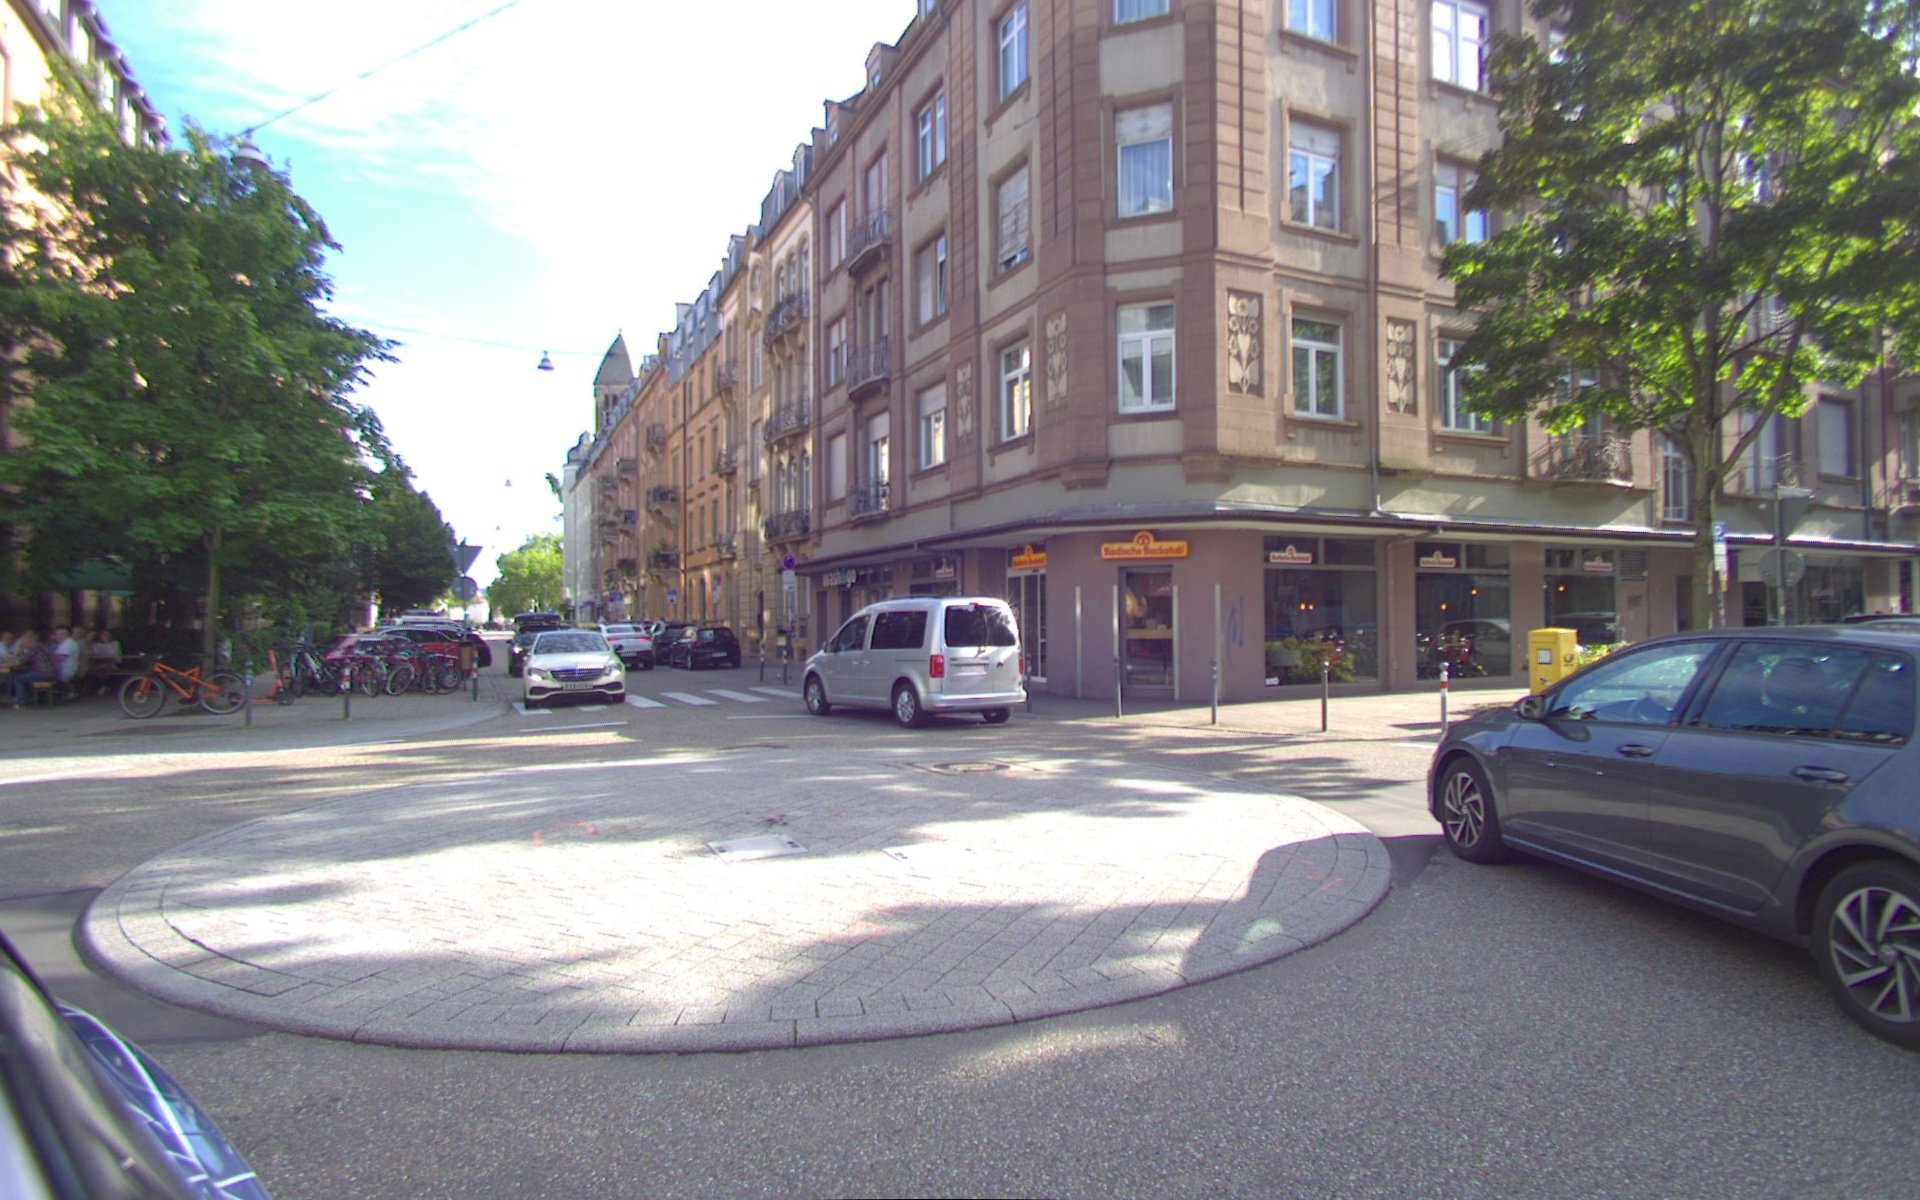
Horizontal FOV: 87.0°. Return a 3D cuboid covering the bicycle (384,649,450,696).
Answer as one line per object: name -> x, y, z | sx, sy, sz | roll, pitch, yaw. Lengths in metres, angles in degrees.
bicycle -> -12.339, 1.632, 22.961 | 1.860, 0.993, 0.466 | 0, -3, 34

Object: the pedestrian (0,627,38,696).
pedestrian -> -18.421, 1.181, 19.740 | 0.621, 1.310, 0.541 | -1, -1, 40

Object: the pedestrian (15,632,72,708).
pedestrian -> -16.606, 1.252, 18.347 | 0.717, 1.325, 0.522 | 1, -2, -38

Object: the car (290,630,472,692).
car -> -14.139, 1.483, 24.866 | 1.512, 1.391, 3.541 | -1, -4, 39

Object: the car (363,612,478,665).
car -> -26.791, 1.879, 50.443 | 1.993, 2.441, 4.688 | -3, -1, 32

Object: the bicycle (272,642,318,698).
bicycle -> -13.875, 1.439, 21.095 | 1.676, 1.109, 0.428 | -1, -3, 45

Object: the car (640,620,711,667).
car -> -10.900, 1.601, 38.542 | 1.830, 1.596, 4.413 | -1, 0, -26

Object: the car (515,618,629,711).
car -> -7.997, 1.258, 20.809 | 1.911, 1.609, 4.851 | -2, -2, -22

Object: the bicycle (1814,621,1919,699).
bicycle -> 14.357, 0.918, 16.007 | 2.252, 1.166, 0.480 | 0, -2, -28

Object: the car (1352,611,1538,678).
car -> 12.572, 1.151, 26.446 | 1.737, 1.563, 4.010 | -1, -1, -35

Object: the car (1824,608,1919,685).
car -> 19.882, 0.894, 19.888 | 1.550, 1.488, 4.087 | -1, -1, -25

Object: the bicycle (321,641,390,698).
bicycle -> -12.939, 1.471, 21.639 | 1.834, 1.152, 0.470 | 0, -3, 34

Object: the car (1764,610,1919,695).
car -> 17.649, 0.946, 18.964 | 1.550, 1.488, 3.711 | -1, -1, -23

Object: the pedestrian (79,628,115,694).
pedestrian -> -17.862, 1.256, 20.951 | 0.621, 1.337, 0.460 | -1, -1, 40

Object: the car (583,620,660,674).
car -> -11.733, 1.614, 34.864 | 1.965, 1.647, 4.859 | -1, -2, -25

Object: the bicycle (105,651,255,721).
bicycle -> -12.679, 1.377, 16.520 | 1.825, 1.043, 0.686 | 1, -2, -27

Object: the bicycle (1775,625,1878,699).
bicycle -> 14.108, 0.983, 16.457 | 2.224, 1.143, 0.480 | 0, -2, -28

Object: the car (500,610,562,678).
car -> -14.182, 1.413, 33.489 | 1.763, 2.079, 4.013 | 0, -2, -23

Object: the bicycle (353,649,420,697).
bicycle -> -12.742, 1.606, 22.467 | 1.860, 0.993, 0.466 | 0, -3, 34

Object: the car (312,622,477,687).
car -> -15.159, 1.467, 27.270 | 1.513, 1.628, 3.538 | -1, -4, 41

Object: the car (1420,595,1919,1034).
car -> 3.984, 0.745, 4.545 | 1.770, 1.449, 4.003 | 1, -1, -4

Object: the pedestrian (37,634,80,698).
pedestrian -> -17.958, 1.302, 20.157 | 0.621, 1.241, 0.541 | -1, -1, 40

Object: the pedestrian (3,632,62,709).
pedestrian -> -16.371, 1.235, 17.874 | 0.717, 1.325, 0.522 | 1, -2, -38

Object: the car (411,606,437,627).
car -> -47.845, 1.500, 90.267 | 1.819, 1.747, 4.011 | -1, -1, -31

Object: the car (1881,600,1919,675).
car -> 22.025, 0.774, 21.179 | 1.550, 1.608, 3.711 | -1, -1, -25

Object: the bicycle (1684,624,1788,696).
bicycle -> 13.451, 1.011, 17.518 | 2.390, 1.143, 0.480 | 0, -2, -28

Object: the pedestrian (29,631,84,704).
pedestrian -> -16.873, 1.245, 18.913 | 0.717, 1.325, 0.609 | 1, -2, -38

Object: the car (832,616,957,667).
car -> -2.330, 1.446, 36.142 | 3.933, 1.633, 2.005 | -1, -1, -35

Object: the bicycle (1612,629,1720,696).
bicycle -> 12.921, 1.114, 18.499 | 2.390, 1.143, 0.581 | 0, -2, -28

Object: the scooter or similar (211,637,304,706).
scooter or similar -> -12.876, 1.309, 18.563 | 1.276, 1.220, 0.556 | 0, -4, 3

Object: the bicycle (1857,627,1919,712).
bicycle -> 14.600, 1.031, 15.530 | 2.254, 1.234, 0.480 | 0, -2, -28

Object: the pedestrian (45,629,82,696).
pedestrian -> -18.567, 1.280, 20.960 | 0.621, 1.337, 0.460 | -1, -1, 40

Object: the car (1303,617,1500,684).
car -> 10.615, 1.191, 24.585 | 1.737, 1.441, 4.010 | -1, -1, -35

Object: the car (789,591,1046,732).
car -> -0.800, 0.866, 15.298 | 1.805, 1.804, 4.341 | 1, -3, -36

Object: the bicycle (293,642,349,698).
bicycle -> -13.578, 1.473, 21.484 | 1.674, 1.109, 0.469 | -1, -3, 40

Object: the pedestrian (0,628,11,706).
pedestrian -> -17.421, 1.188, 17.866 | 0.709, 1.389, 0.668 | 0, -1, 9

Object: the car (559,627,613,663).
car -> -16.500, 1.939, 44.496 | 1.740, 1.392, 4.466 | -3, 0, -26

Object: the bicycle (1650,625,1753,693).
bicycle -> 13.195, 1.029, 17.994 | 2.390, 1.143, 0.480 | 0, -2, -28

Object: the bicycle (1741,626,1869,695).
bicycle -> 14.803, 1.037, 17.711 | 2.470, 1.110, 0.710 | -1, -2, -26

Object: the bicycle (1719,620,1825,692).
bicycle -> 13.695, 0.913, 17.047 | 2.390, 1.143, 0.480 | 0, -2, -28

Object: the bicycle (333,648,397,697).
bicycle -> -13.000, 1.573, 22.092 | 1.834, 0.993, 0.413 | 0, -3, 34

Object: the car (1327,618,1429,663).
car -> 16.250, 1.552, 39.369 | 3.570, 1.578, 1.584 | -2, -1, -24

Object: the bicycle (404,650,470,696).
bicycle -> -12.051, 1.668, 23.304 | 1.860, 0.993, 0.466 | 0, -3, 34

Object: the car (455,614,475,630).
car -> -60.407, 2.664, 123.525 | 1.965, 1.903, 4.013 | -1, -1, -24

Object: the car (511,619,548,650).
car -> -28.602, 2.279, 67.140 | 1.911, 1.894, 4.851 | -1, -1, -27

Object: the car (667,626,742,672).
car -> -8.624, 1.607, 33.971 | 1.695, 1.379, 3.842 | -1, -1, -26
